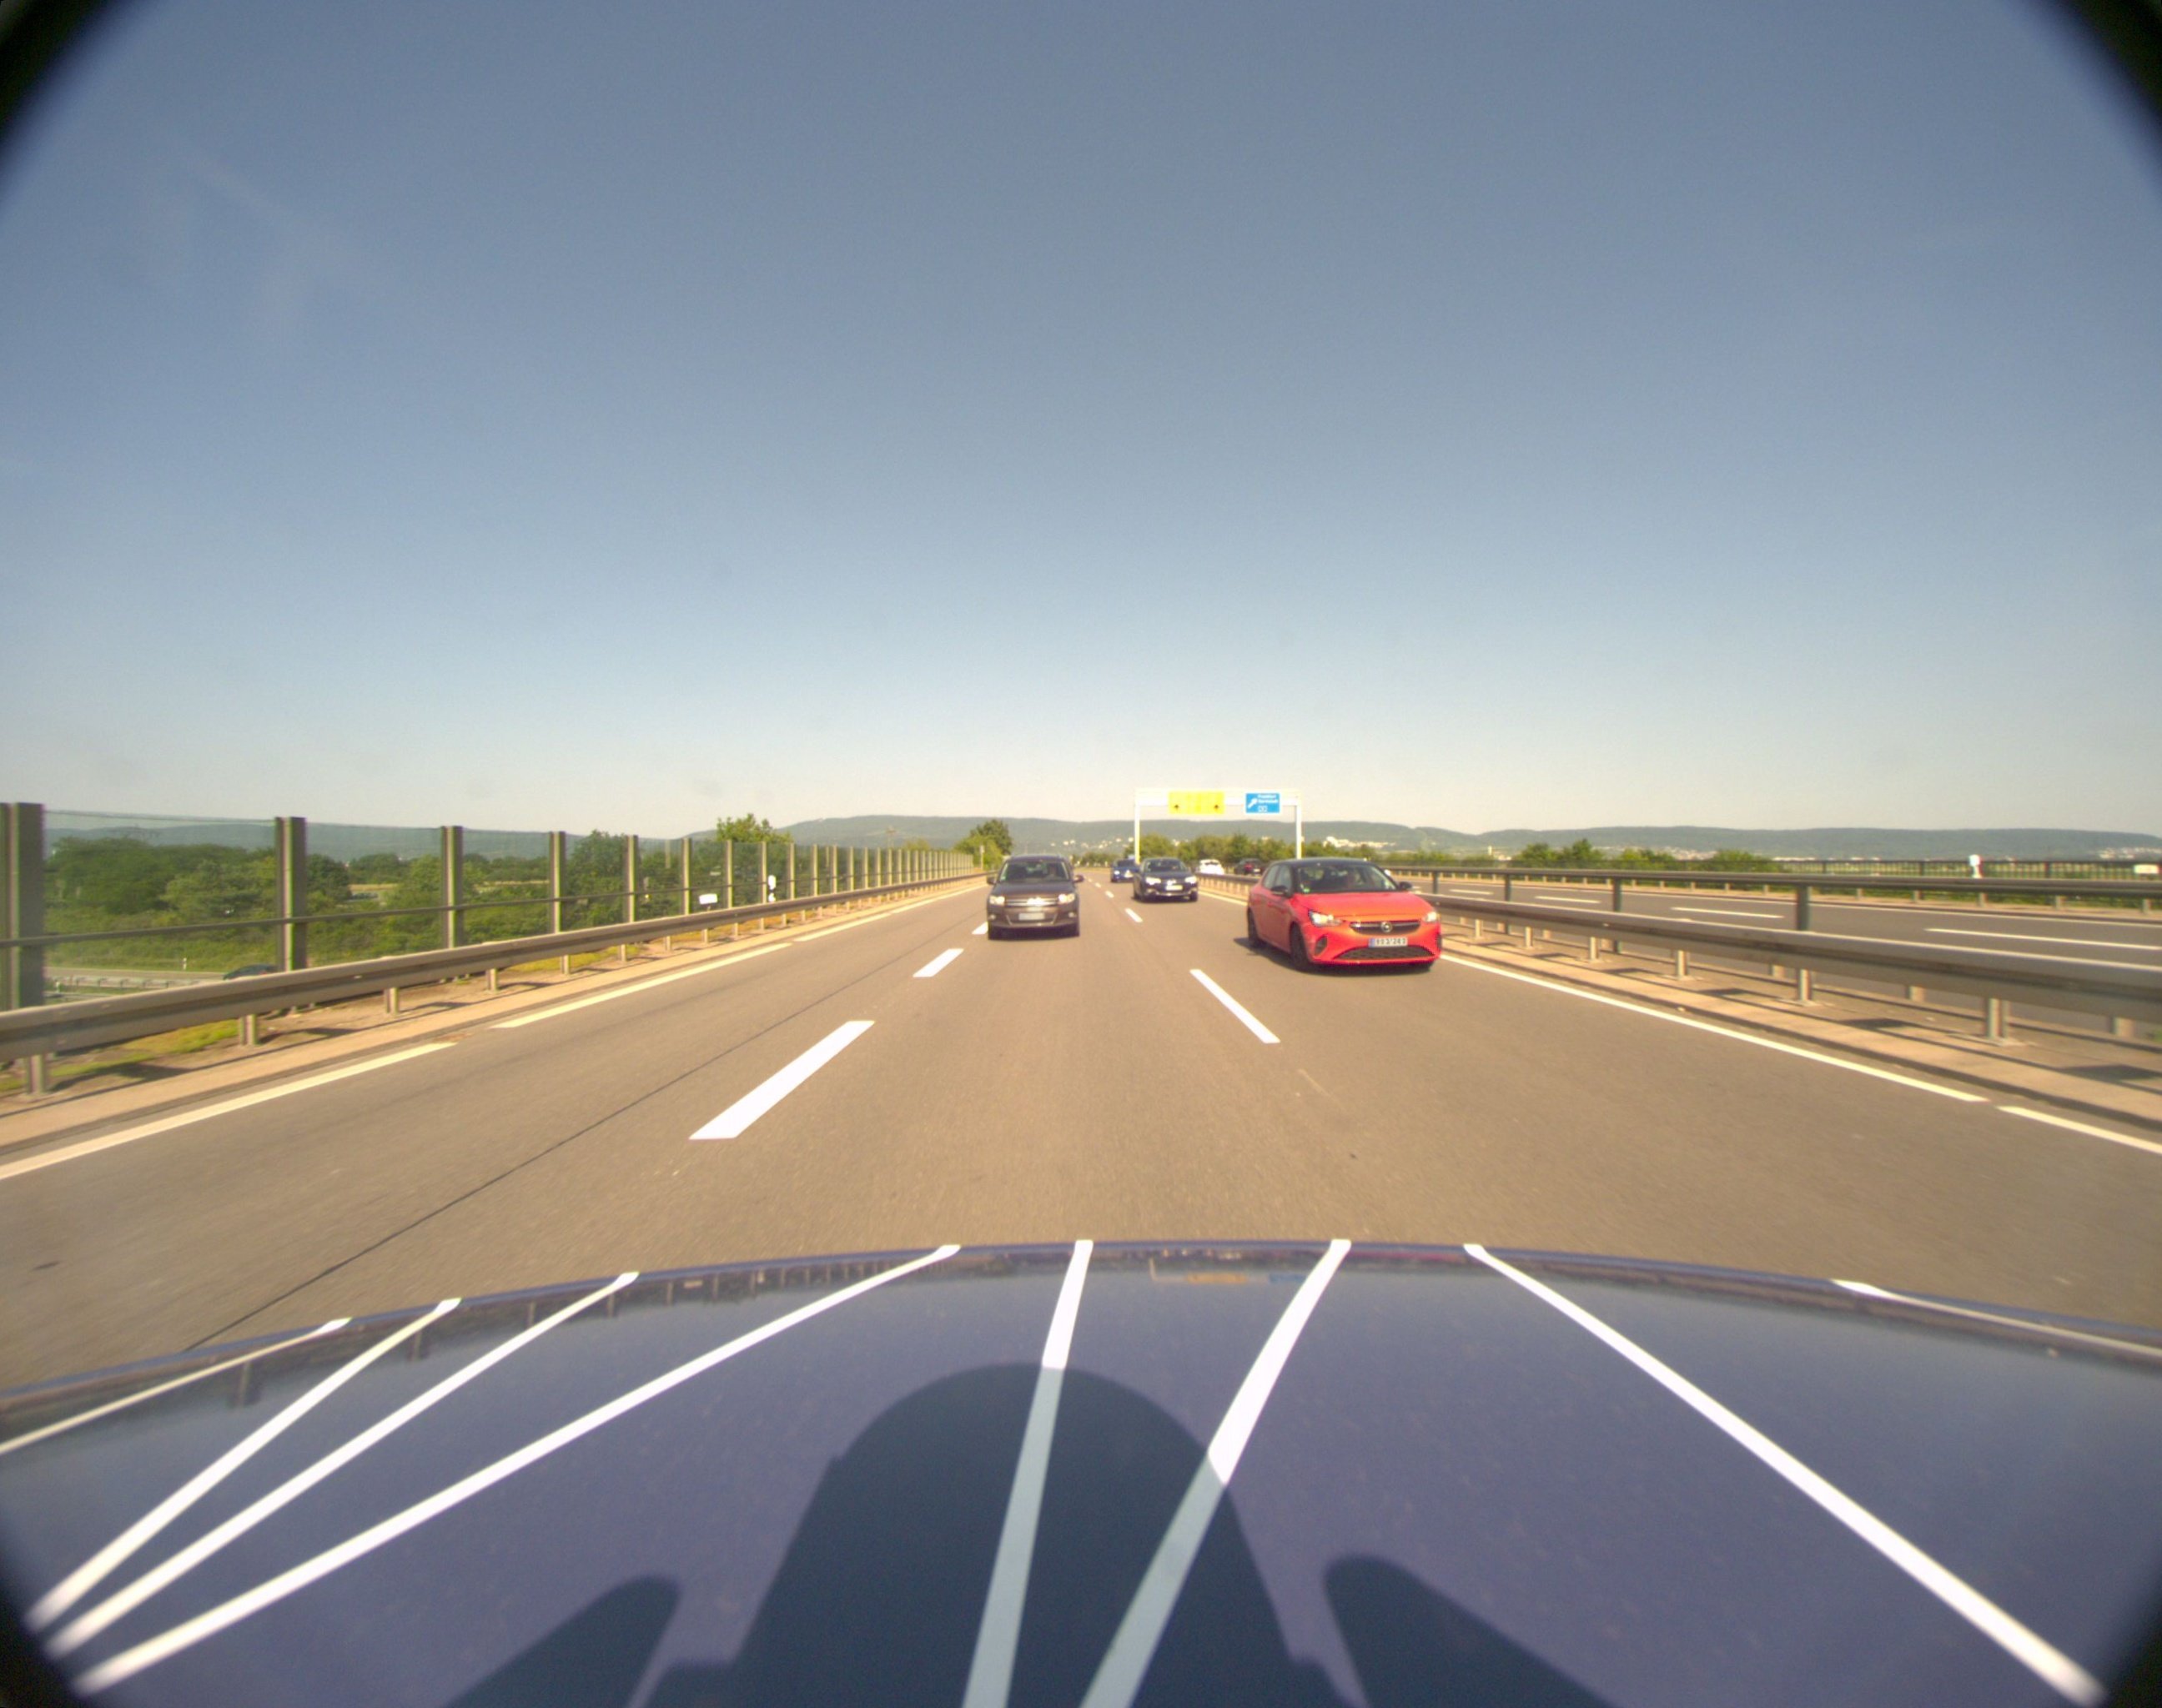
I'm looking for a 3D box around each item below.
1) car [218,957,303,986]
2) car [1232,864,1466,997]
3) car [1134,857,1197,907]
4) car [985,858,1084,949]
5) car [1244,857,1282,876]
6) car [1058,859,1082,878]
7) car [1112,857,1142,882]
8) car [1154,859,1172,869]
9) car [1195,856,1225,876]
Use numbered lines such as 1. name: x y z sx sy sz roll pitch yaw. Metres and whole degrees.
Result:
1. car: -57.601 8.214 53.375 4.255 1.696 2.002 -2 0 10
2. car: 3.491 0.898 10.855 1.713 1.428 4.412 -2 0 -1
3. car: 2.800 0.892 26.011 1.788 1.524 4.376 -2 0 2
4. car: -0.849 0.929 16.202 1.790 1.637 4.148 -2 0 0
5. car: 14.368 0.968 60.172 1.784 1.375 3.999 -2 0 -3
6. car: -0.767 0.981 52.562 1.601 1.241 4.000 -2 0 -1
7. car: 2.867 0.953 47.623 1.651 1.403 3.775 -2 1 1
8. car: 11.400 1.369 105.474 1.829 1.420 4.530 -2 0 -3
9. car: 9.849 0.912 58.216 1.556 1.408 3.668 -2 0 -1
